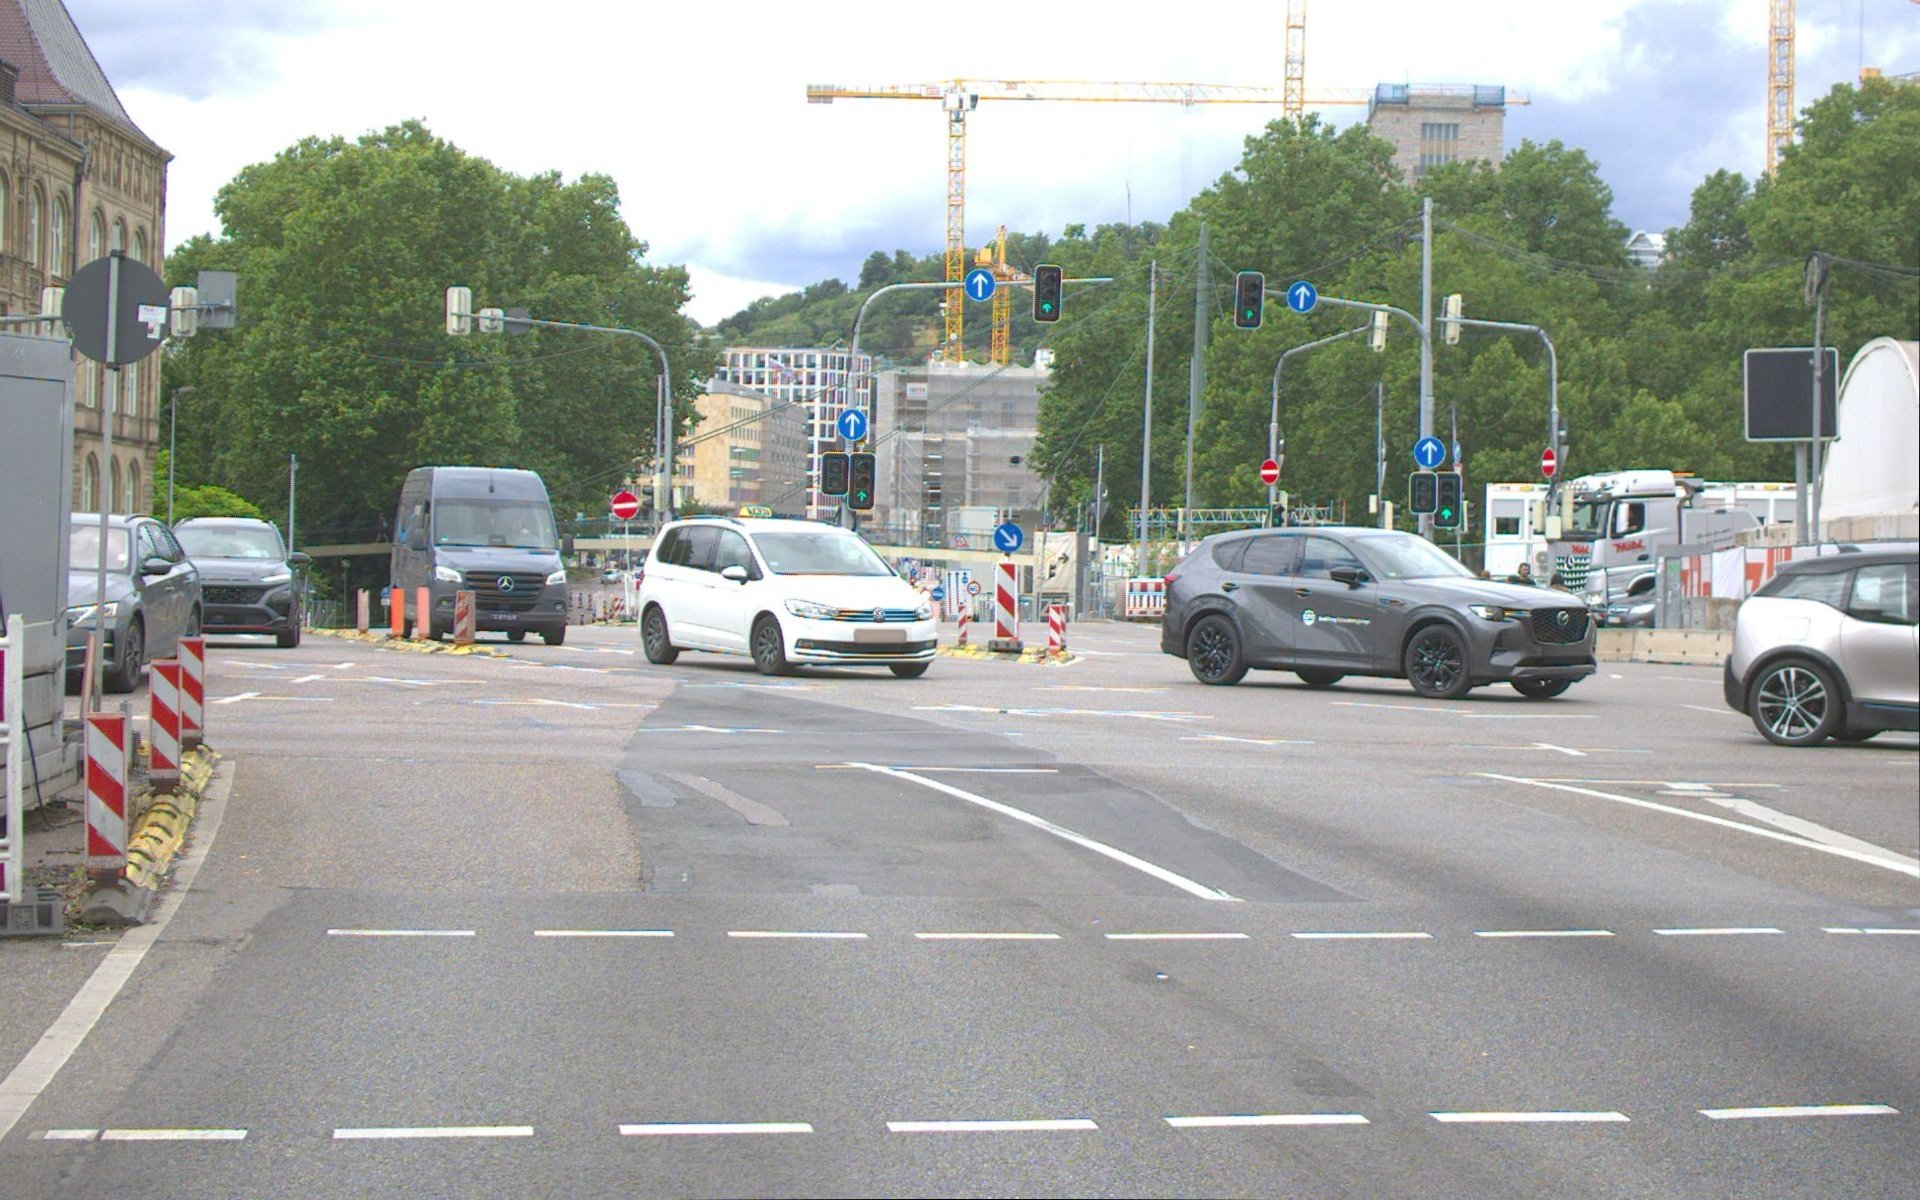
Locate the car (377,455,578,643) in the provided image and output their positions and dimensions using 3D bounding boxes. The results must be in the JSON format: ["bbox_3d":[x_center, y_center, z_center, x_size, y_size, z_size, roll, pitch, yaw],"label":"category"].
[{"bbox_3d":[-7.227,-0.787,50.941,2.056,2.585,6.016,1,1,-16],"label":"car"}]

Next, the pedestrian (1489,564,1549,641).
[{"bbox_3d":[10.247,0.049,63.073,0.796,1.373,0.905,1,1,-10],"label":"pedestrian"}]

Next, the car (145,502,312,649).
[{"bbox_3d":[-9.024,-0.342,42.216,1.877,1.664,4.446,1,1,-13],"label":"car"}]

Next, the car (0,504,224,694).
[{"bbox_3d":[-7.648,-0.071,29.426,1.878,1.467,4.445,1,1,-2],"label":"car"}]

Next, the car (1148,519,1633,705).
[{"bbox_3d":[4.290,0.078,34.798,4.606,1.664,1.879,3,2,43],"label":"car"}]

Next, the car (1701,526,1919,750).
[{"bbox_3d":[8.038,0.313,26.706,4.060,1.662,1.797,2,1,31],"label":"car"}]

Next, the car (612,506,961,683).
[{"bbox_3d":[-1.932,-0.101,36.812,1.878,1.730,4.445,1,2,-30],"label":"car"}]

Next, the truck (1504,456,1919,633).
[{"bbox_3d":[20.084,-1.299,84.242,13.022,4.027,3.952,1,1,-21],"label":"truck"}]
